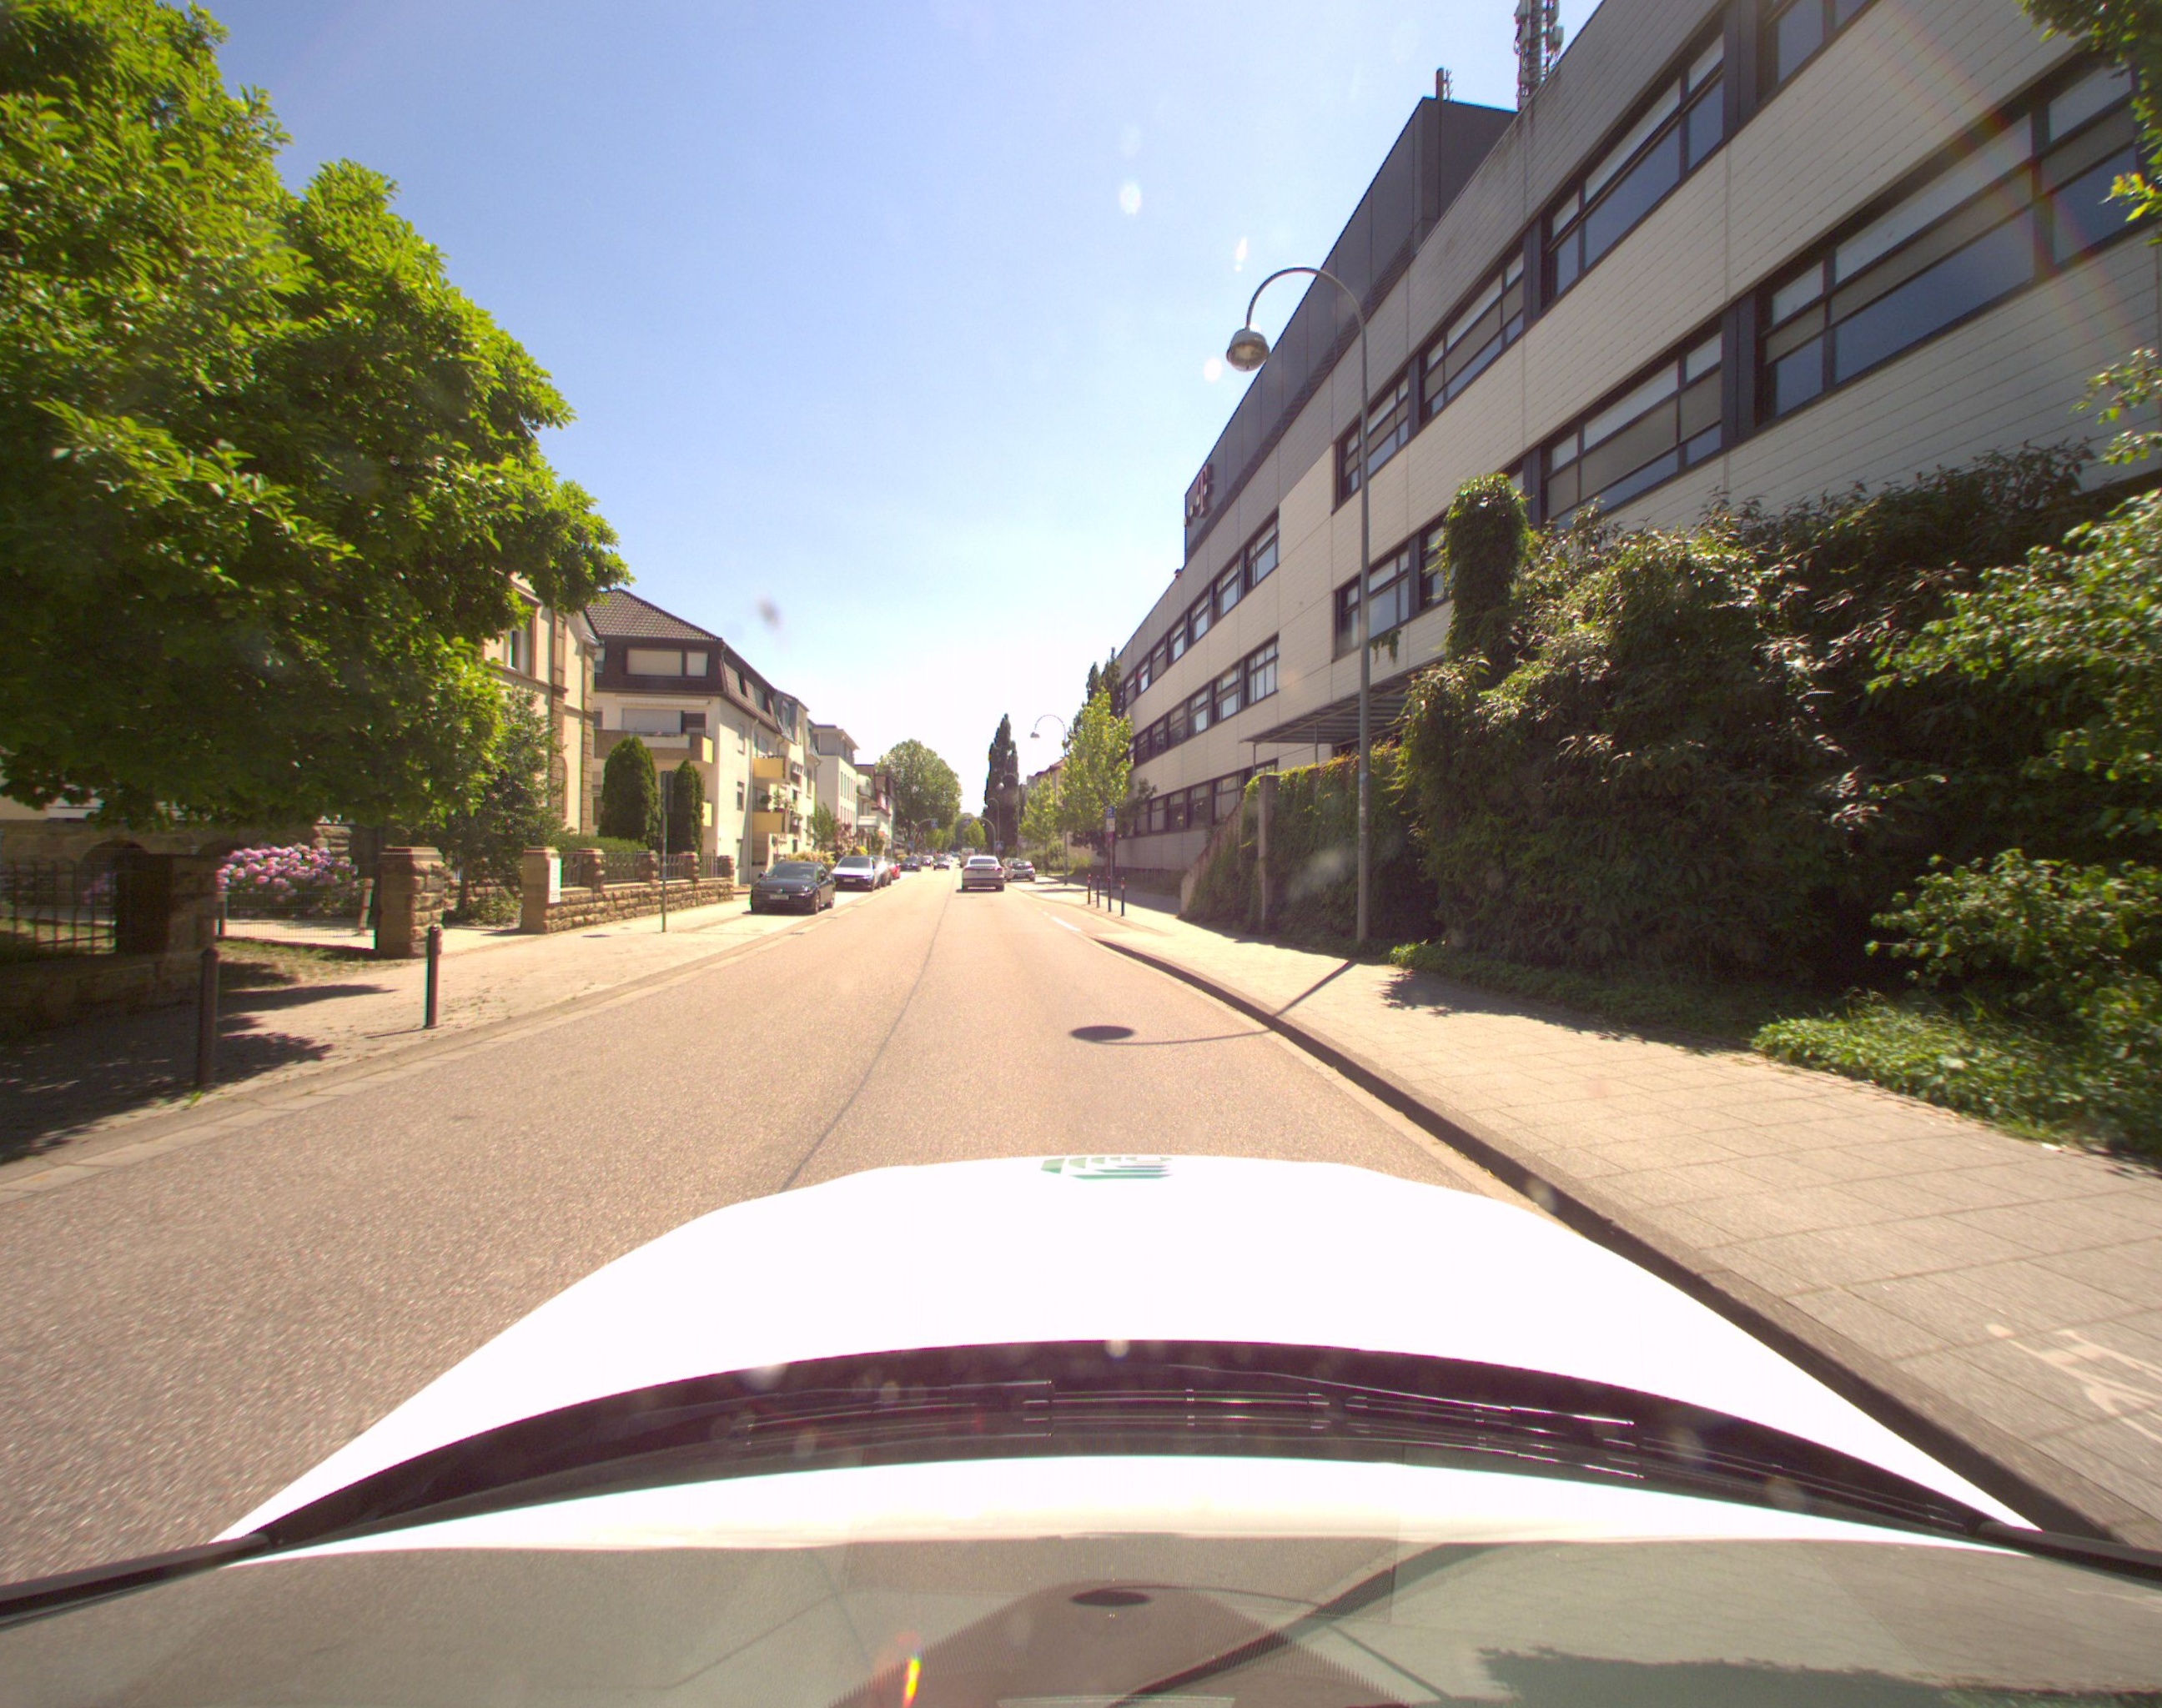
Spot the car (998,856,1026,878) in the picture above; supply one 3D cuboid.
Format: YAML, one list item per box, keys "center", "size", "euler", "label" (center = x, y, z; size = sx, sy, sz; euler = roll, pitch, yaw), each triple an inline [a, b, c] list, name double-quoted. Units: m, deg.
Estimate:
- center: [-5.050, 0.950, 59.480]
  size: [1.658, 1.488, 4.332]
  euler: [-2, 0, -9]
  label: "car"

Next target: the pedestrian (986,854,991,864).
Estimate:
- center: [-15.349, 0.808, 135.203]
  size: [0.694, 1.736, 0.665]
  euler: [0, 0, -13]
  label: "pedestrian"

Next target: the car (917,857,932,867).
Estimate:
- center: [-22.149, 1.069, 115.514]
  size: [1.993, 1.349, 3.987]
  euler: [0, 0, -10]
  label: "car"

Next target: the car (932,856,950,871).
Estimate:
- center: [-16.018, 1.029, 93.304]
  size: [1.974, 1.670, 4.456]
  euler: [0, 0, -10]
  label: "car"

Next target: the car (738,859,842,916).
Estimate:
- center: [-8.487, 0.910, 24.176]
  size: [1.925, 1.436, 4.646]
  euler: [3, 0, -8]
  label: "car"

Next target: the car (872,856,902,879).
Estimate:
- center: [-13.219, 0.922, 55.581]
  size: [1.649, 1.419, 3.892]
  euler: [3, 0, -10]
  label: "car"

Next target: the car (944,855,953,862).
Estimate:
- center: [-29.046, 0.983, 178.665]
  size: [1.978, 1.520, 3.987]
  euler: [0, 0, -10]
  label: "car"

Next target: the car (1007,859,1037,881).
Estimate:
- center: [-3.914, 1.033, 53.682]
  size: [1.860, 1.373, 3.991]
  euler: [0, 0, -6]
  label: "car"

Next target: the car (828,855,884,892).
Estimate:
- center: [-10.580, 0.869, 38.575]
  size: [1.925, 1.573, 4.646]
  euler: [3, 0, -8]
  label: "car"

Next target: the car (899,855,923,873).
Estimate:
- center: [-17.147, 0.971, 82.246]
  size: [1.924, 1.720, 4.461]
  euler: [0, 0, -7]
  label: "car"

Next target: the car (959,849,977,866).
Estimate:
- center: [-14.950, 0.430, 107.688]
  size: [2.070, 2.197, 5.120]
  euler: [-2, 0, -10]
  label: "car"

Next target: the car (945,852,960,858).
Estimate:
- center: [-37.673, 0.381, 238.744]
  size: [3.976, 1.651, 1.999]
  euler: [0, 0, -2]
  label: "car"

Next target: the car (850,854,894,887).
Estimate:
- center: [-11.284, 0.851, 44.242]
  size: [1.724, 1.619, 4.558]
  euler: [3, 0, -8]
  label: "car"

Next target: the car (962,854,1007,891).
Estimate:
- center: [-4.612, 0.824, 38.495]
  size: [1.935, 1.614, 4.459]
  euler: [-1, 0, -8]
  label: "car"
